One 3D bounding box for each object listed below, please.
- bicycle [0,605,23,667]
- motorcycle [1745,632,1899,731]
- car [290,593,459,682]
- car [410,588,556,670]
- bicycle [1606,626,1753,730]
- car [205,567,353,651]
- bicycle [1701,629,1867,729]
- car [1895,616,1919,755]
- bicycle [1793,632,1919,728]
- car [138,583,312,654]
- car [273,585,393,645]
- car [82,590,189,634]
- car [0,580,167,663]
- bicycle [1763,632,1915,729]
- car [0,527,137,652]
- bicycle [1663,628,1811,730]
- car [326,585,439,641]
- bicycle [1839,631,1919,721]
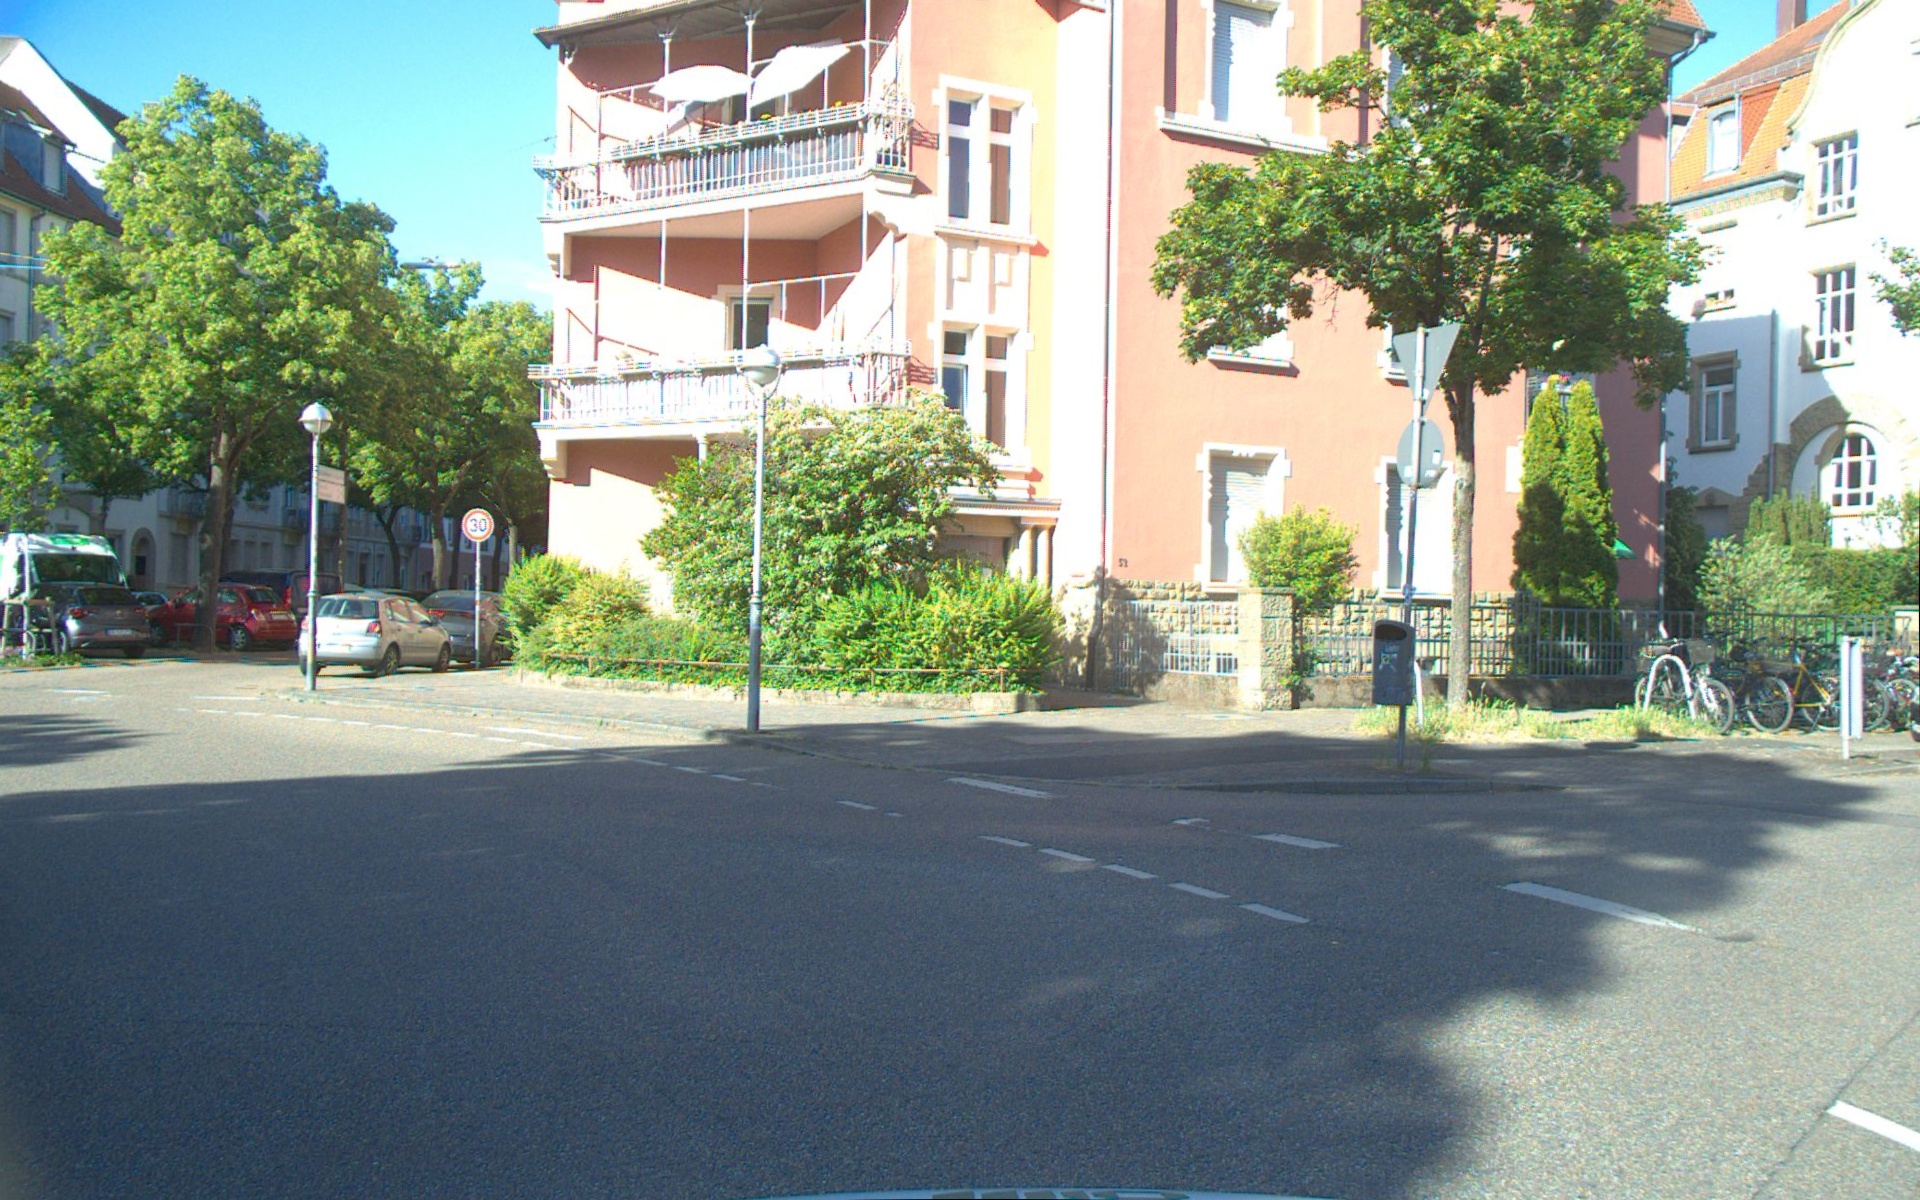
[{"bbox_3d":[-17.517,0.657,29.656,0.409,1.105,1.528,2,1,6],"label":"bicycle"},{"bbox_3d":[11.024,1.018,21.204,0.494,1.126,1.708,1,2,-31],"label":"motorcycle"},{"bbox_3d":[-10.678,0.652,30.390,1.647,1.472,3.547,2,0,3],"label":"car"},{"bbox_3d":[-10.122,0.579,35.422,1.647,1.590,4.296,2,0,3],"label":"car"},{"bbox_3d":[8.781,0.929,20.257,0.537,1.134,1.714,1,2,-24],"label":"bicycle"},{"bbox_3d":[-16.656,0.213,40.427,3.312,1.897,1.684,2,0,32],"label":"car"},{"bbox_3d":[10.406,0.975,20.940,0.496,1.126,1.803,0,2,-40],"label":"bicycle"},{"bbox_3d":[12.585,0.936,18.529,4.280,1.510,1.791,1,-3,-31],"label":"car"},{"bbox_3d":[11.950,1.032,21.841,0.493,1.126,1.711,1,2,-28],"label":"bicycle"},{"bbox_3d":[-16.875,0.413,37.995,3.302,1.472,1.689,2,0,17],"label":"car"},{"bbox_3d":[-17.149,0.396,45.228,3.323,1.495,1.678,2,0,41],"label":"car"},{"bbox_3d":[-27.599,0.373,55.485,1.648,1.414,3.921,0,0,-1],"label":"car"},{"bbox_3d":[-17.805,0.410,32.910,3.835,1.472,1.686,2,0,28],"label":"car"},{"bbox_3d":[11.426,1.025,21.547,0.494,1.126,1.708,1,2,-31],"label":"bicycle"},{"bbox_3d":[-21.222,-0.282,38.007,6.268,2.645,2.089,2,0,44],"label":"car"},{"bbox_3d":[9.676,0.963,20.656,0.537,1.134,1.714,1,2,-24],"label":"bicycle"},{"bbox_3d":[-16.834,0.370,48.153,3.323,1.495,1.678,2,0,41],"label":"car"},{"bbox_3d":[12.830,1.031,22.293,0.508,1.126,1.711,1,2,-28],"label":"bicycle"}]
